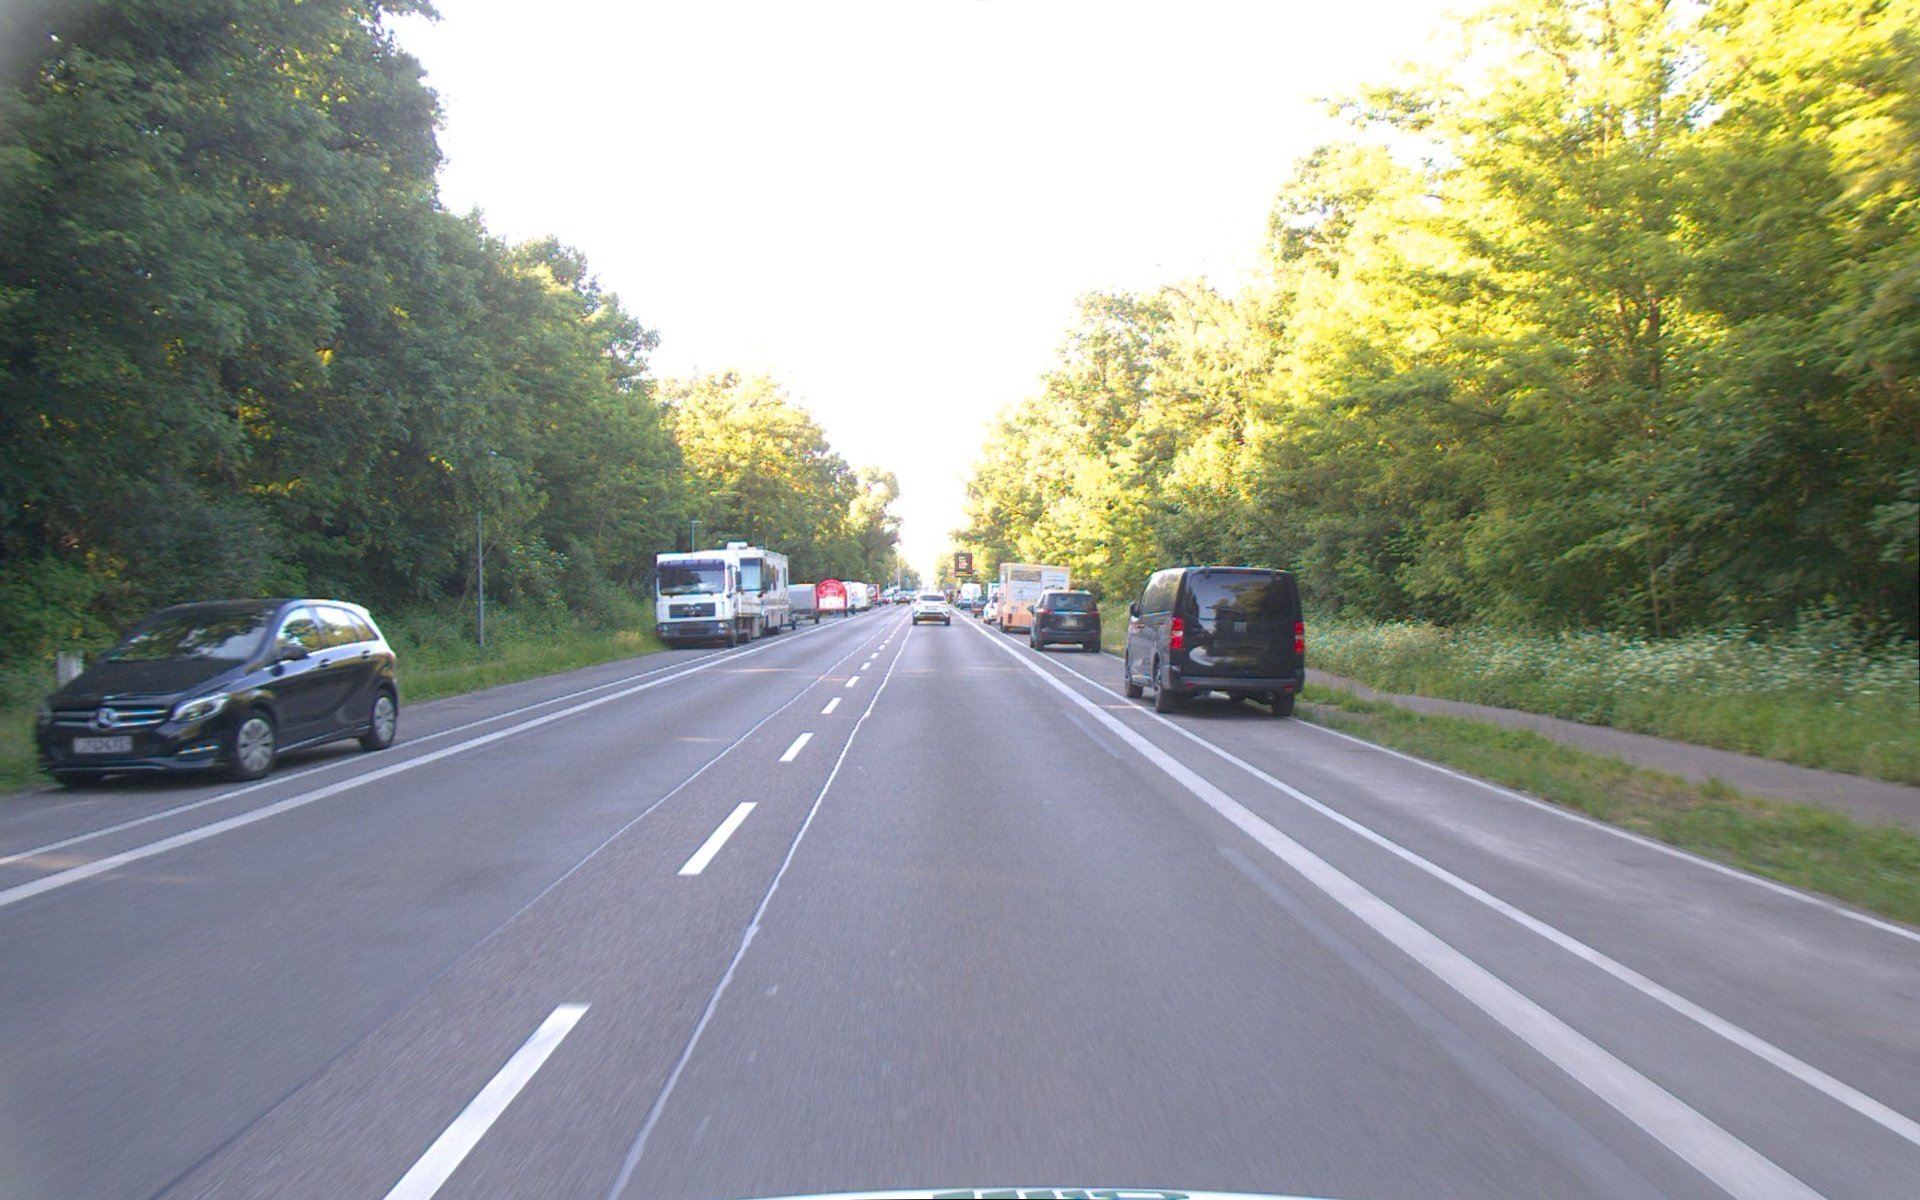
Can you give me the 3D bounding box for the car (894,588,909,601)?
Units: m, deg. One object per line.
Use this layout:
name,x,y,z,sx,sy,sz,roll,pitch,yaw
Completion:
car,-7.651,-0.726,216.262,1.953,1.707,3.999,-1,0,-1

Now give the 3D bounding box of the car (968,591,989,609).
car,1.483,0.001,135.266,1.622,1.504,3.753,0,0,-1

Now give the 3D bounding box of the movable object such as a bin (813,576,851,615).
movable object such as a bin,-8.585,-0.299,111.164,2.275,2.545,3.999,0,0,-1

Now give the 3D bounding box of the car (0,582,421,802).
car,-6.786,0.719,15.324,1.743,1.713,4.381,-2,0,6

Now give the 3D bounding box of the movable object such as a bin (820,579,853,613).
movable object such as a bin,-9.342,-0.338,125.545,2.275,2.545,3.999,0,0,-1

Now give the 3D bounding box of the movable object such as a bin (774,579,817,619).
movable object such as a bin,-8.624,-0.069,86.861,1.914,2.049,3.999,0,0,-1

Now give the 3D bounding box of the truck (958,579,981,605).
truck,0.928,-0.769,159.035,2.054,2.495,5.679,0,0,-1

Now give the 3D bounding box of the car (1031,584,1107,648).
car,2.983,0.420,46.031,1.803,1.691,4.000,1,0,-1

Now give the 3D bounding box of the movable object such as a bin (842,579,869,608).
movable object such as a bin,-9.351,-0.580,148.158,2.275,2.545,3.999,0,0,-1

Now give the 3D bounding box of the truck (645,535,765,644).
truck,-7.886,-0.332,52.124,2.652,3.147,7.988,0,0,-1

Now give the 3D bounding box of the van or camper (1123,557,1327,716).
van or camper,3.596,0.440,23.466,1.953,1.966,5.198,1,0,-1

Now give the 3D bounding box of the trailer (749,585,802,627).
trailer,-8.154,0.244,73.486,1.953,1.780,4.327,0,0,-1

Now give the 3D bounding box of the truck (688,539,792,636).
truck,-8.256,-0.461,63.364,2.652,3.406,10.921,0,0,-1

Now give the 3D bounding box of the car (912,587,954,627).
car,-1.277,0.306,78.969,1.987,1.872,4.028,0,1,-1

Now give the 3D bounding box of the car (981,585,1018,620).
car,2.001,0.123,84.162,1.697,1.713,3.999,0,0,-1

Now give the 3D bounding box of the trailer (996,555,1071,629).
trailer,2.958,-0.339,68.181,2.701,2.920,6.587,0,0,-1

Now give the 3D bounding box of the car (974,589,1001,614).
car,1.725,0.079,104.232,1.622,1.504,3.753,0,0,-1

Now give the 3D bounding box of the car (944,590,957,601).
car,-1.218,-0.589,211.902,1.622,1.504,3.753,0,0,-1

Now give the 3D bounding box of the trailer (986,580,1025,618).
trailer,2.455,-0.069,90.855,1.953,2.004,3.999,0,0,-1
